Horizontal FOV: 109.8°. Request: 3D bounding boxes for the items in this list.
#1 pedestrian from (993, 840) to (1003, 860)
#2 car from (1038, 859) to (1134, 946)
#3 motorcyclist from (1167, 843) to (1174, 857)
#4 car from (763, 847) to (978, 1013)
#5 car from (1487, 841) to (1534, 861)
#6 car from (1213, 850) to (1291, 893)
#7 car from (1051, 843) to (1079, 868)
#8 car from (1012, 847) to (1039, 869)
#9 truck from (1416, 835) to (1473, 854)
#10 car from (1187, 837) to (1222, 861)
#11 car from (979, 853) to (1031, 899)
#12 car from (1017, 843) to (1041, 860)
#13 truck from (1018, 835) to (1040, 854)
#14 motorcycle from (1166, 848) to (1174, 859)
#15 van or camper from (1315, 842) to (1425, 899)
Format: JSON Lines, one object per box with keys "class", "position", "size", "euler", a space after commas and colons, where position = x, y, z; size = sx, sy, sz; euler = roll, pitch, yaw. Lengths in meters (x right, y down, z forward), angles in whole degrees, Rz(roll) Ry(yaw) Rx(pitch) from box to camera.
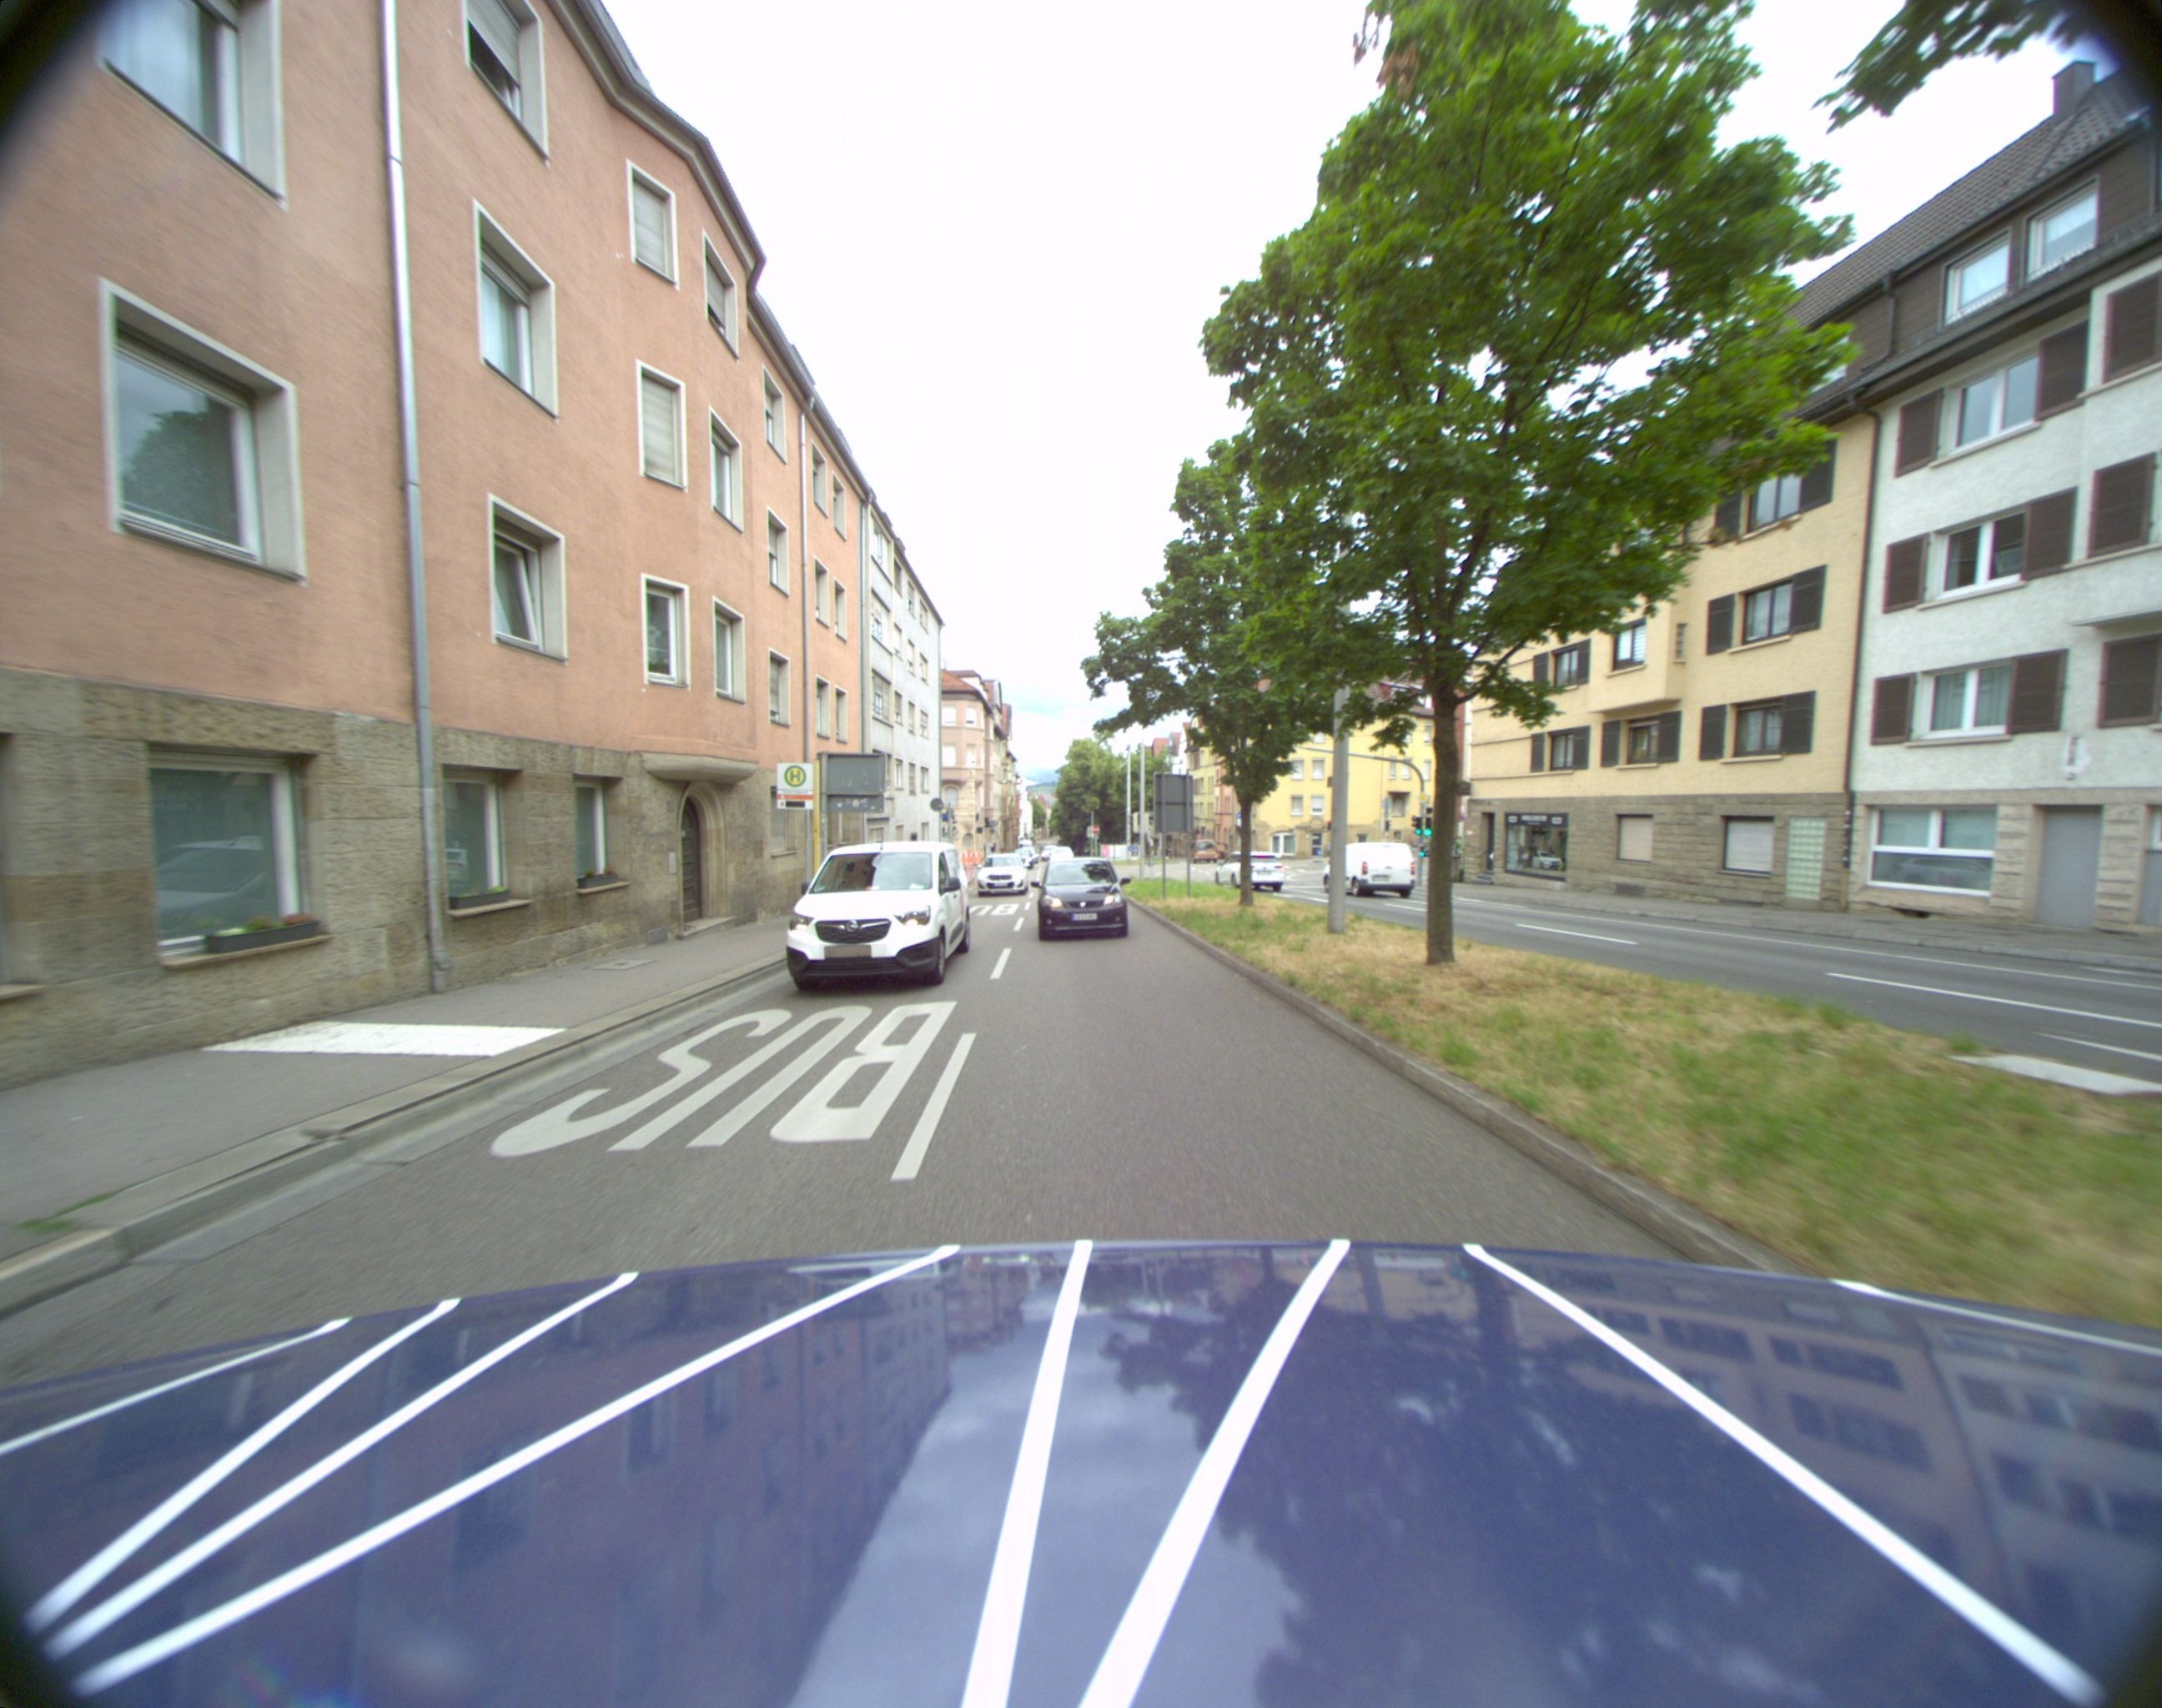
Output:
{"class": "pedestrian", "position": [-6.869, -0.366, 63.123], "size": [0.735, 1.638, 1.004], "euler": [-1, 1, -4]}
{"class": "car", "position": [-0.001, 0.846, 14.951], "size": [1.604, 1.448, 3.683], "euler": [-2, 0, -3]}
{"class": "motorcyclist", "position": [9.466, -0.409, 80.057], "size": [0.674, 1.467, 0.662], "euler": [-1, 2, -1]}
{"class": "car", "position": [-2.644, 0.813, 10.811], "size": [1.789, 1.779, 4.842], "euler": [-2, 1, -2]}
{"class": "car", "position": [37.254, -0.258, 65.871], "size": [3.862, 1.711, 1.858], "euler": [-1, 1, -31]}
{"class": "car", "position": [6.371, 0.592, 28.841], "size": [1.750, 1.459, 4.584], "euler": [0, 1, -3]}
{"class": "car", "position": [-1.199, 0.066, 55.841], "size": [1.785, 1.584, 3.531], "euler": [2, 2, -4]}
{"class": "car", "position": [-3.959, 0.263, 54.501], "size": [1.780, 1.434, 4.162], "euler": [-3, 1, -3]}
{"class": "truck", "position": [28.223, -0.757, 59.034], "size": [4.004, 1.410, 1.849], "euler": [-2, 1, -24]}
{"class": "car", "position": [9.645, -0.352, 59.598], "size": [1.884, 1.805, 4.351], "euler": [-1, -1, -1]}
{"class": "car", "position": [-2.959, 0.814, 30.494], "size": [1.780, 1.598, 4.162], "euler": [-3, 1, -3]}
{"class": "car", "position": [-4.626, -0.228, 67.686], "size": [1.842, 1.477, 3.999], "euler": [1, 1, 0]}
{"class": "truck", "position": [-8.310, -1.502, 121.788], "size": [2.552, 2.891, 7.777], "euler": [1, 1, 3]}
{"class": "motorcycle", "position": [9.394, -0.062, 80.100], "size": [0.546, 1.178, 2.204], "euler": [-1, 2, -1]}
{"class": "van or camper", "position": [9.758, 0.482, 26.073], "size": [1.913, 1.751, 4.653], "euler": [0, 1, -2]}
